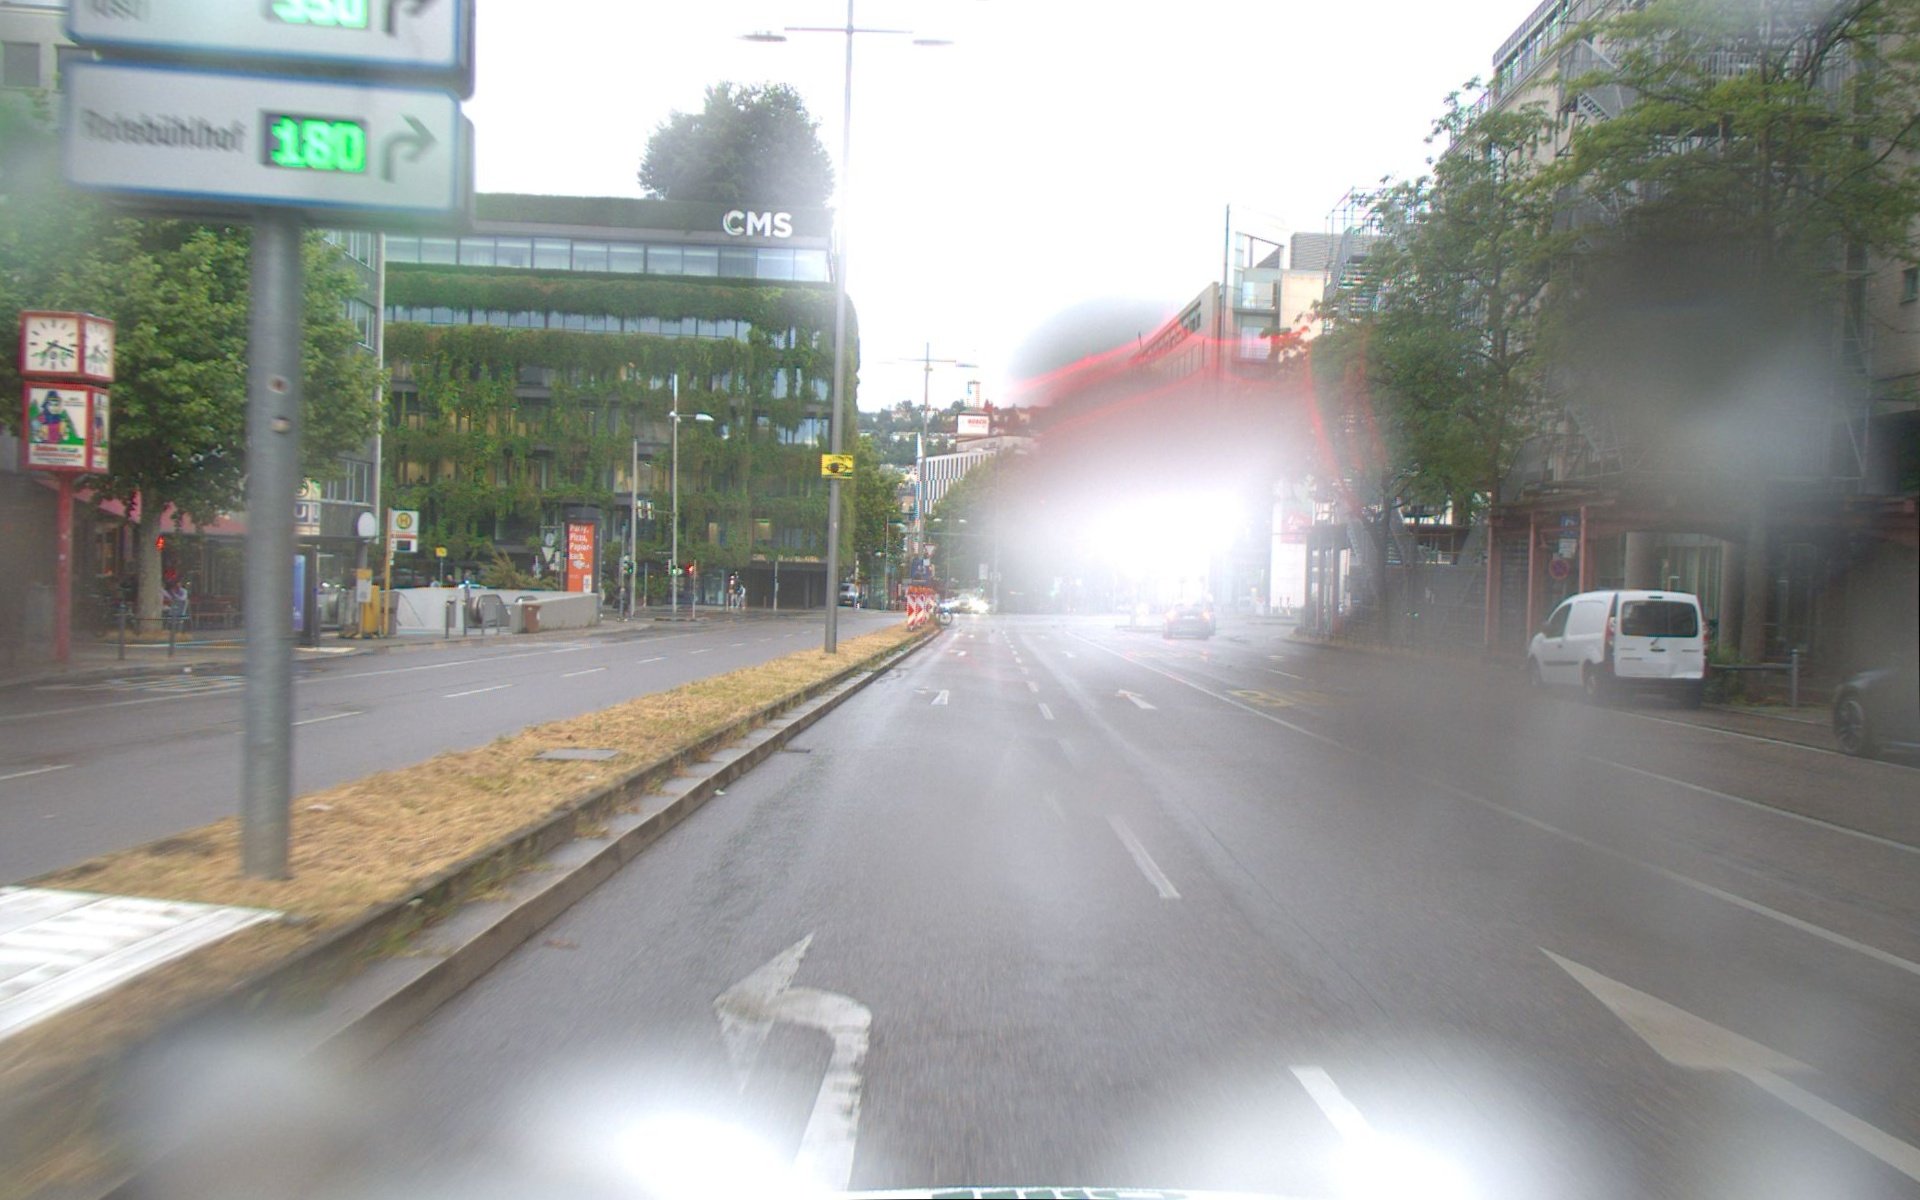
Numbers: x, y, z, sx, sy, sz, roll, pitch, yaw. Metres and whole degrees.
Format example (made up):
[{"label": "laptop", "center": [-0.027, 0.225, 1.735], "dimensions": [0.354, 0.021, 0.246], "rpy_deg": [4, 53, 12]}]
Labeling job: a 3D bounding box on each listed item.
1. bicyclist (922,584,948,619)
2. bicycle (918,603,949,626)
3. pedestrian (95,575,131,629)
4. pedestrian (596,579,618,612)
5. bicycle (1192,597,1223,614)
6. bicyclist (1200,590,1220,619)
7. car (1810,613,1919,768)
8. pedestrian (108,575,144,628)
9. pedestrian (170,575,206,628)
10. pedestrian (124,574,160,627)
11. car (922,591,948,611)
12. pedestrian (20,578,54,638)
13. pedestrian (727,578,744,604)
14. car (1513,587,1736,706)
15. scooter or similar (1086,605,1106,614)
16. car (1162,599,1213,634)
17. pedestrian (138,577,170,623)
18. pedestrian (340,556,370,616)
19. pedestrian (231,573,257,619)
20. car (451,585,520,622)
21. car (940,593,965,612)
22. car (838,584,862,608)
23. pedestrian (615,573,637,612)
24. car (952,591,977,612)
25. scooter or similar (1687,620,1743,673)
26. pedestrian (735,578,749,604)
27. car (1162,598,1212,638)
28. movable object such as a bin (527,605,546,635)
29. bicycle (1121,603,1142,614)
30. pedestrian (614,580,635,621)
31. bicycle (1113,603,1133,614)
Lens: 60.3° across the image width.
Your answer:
[{"label": "bicyclist", "center": [-1.250, 0.060, 82.487], "dimensions": [0.828, 1.734, 1.299], "rpy_deg": [1, 0, 21]}, {"label": "bicycle", "center": [-1.311, 0.715, 82.417], "dimensions": [0.828, 1.122, 2.153], "rpy_deg": [1, 0, 20]}, {"label": "pedestrian", "center": [-23.519, 0.050, 45.930], "dimensions": [0.675, 1.476, 0.547], "rpy_deg": [1, 0, -3]}, {"label": "pedestrian", "center": [-17.894, -0.243, 83.801], "dimensions": [0.901, 1.613, 0.833], "rpy_deg": [-3, 0, -3]}, {"label": "bicycle", "center": [17.251, 0.414, 115.266], "dimensions": [0.786, 1.136, 2.224], "rpy_deg": [1, 0, -39]}, {"label": "bicyclist", "center": [17.407, 0.321, 115.092], "dimensions": [0.786, 2.009, 1.098], "rpy_deg": [1, 0, -39]}, {"label": "car", "center": [10.192, 0.908, 15.804], "dimensions": [1.830, 1.462, 4.923], "rpy_deg": [1, 0, 3]}, {"label": "pedestrian", "center": [-23.484, 0.039, 46.573], "dimensions": [0.675, 1.476, 0.583], "rpy_deg": [1, 0, -2]}, {"label": "pedestrian", "center": [-21.826, 0.036, 46.778], "dimensions": [0.675, 1.476, 0.707], "rpy_deg": [1, 0, -3]}, {"label": "pedestrian", "center": [-23.549, 0.012, 47.619], "dimensions": [0.712, 1.476, 0.691], "rpy_deg": [1, 0, -6]}, {"label": "car", "center": [-2.123, 0.072, 136.775], "dimensions": [1.820, 1.473, 4.616], "rpy_deg": [1, 1, -5]}, {"label": "pedestrian", "center": [-24.606, 0.210, 44.102], "dimensions": [0.585, 1.598, 0.604], "rpy_deg": [1, 0, -9]}, {"label": "pedestrian", "center": [-15.441, -0.638, 113.699], "dimensions": [0.922, 1.788, 1.164], "rpy_deg": [1, 0, -22]}, {"label": "car", "center": [10.919, 0.701, 27.548], "dimensions": [1.952, 1.780, 4.527], "rpy_deg": [1, 0, 1]}, {"label": "scooter or similar", "center": [12.489, 0.872, 151.991], "dimensions": [1.719, 0.894, 0.487], "rpy_deg": [1, 0, -18]}, {"label": "car", "center": [10.522, 0.745, 76.341], "dimensions": [1.667, 1.556, 4.429], "rpy_deg": [1, 0, 16]}, {"label": "pedestrian", "center": [-24.282, 0.002, 49.843], "dimensions": [0.620, 1.380, 0.691], "rpy_deg": [1, 0, -6]}, {"label": "pedestrian", "center": [-19.410, -0.451, 53.075], "dimensions": [0.675, 1.918, 0.758], "rpy_deg": [1, 0, -3]}, {"label": "pedestrian", "center": [-23.224, -0.134, 53.633], "dimensions": [0.590, 1.476, 0.588], "rpy_deg": [1, 0, -4]}, {"label": "car", "center": [-25.883, 0.186, 90.315], "dimensions": [3.388, 1.955, 1.994], "rpy_deg": [1, 0, -12]}, {"label": "car", "center": [-0.780, 0.241, 164.915], "dimensions": [2.132, 1.855, 4.639], "rpy_deg": [1, 0, -5]}, {"label": "car", "center": [-9.357, -0.334, 140.873], "dimensions": [1.954, 1.928, 4.462], "rpy_deg": [1, 0, -3]}, {"label": "pedestrian", "center": [-16.890, -0.368, 83.660], "dimensions": [0.877, 1.918, 0.786], "rpy_deg": [-3, 0, -3]}, {"label": "car", "center": [0.373, 0.100, 130.624], "dimensions": [1.952, 1.577, 4.556], "rpy_deg": [1, 0, 1]}, {"label": "scooter or similar", "center": [17.568, 1.068, 38.509], "dimensions": [0.618, 1.182, 1.548], "rpy_deg": [1, 0, 1]}, {"label": "pedestrian", "center": [-14.996, -0.623, 113.801], "dimensions": [0.731, 1.788, 0.969], "rpy_deg": [1, 0, -22]}, {"label": "car", "center": [9.454, 0.729, 69.136], "dimensions": [1.741, 1.567, 4.148], "rpy_deg": [1, 0, 3]}, {"label": "movable object such as a bin", "center": [-13.323, 0.630, 52.048], "dimensions": [0.521, 0.913, 0.681], "rpy_deg": [0, 0, -8]}, {"label": "bicycle", "center": [14.846, 0.727, 142.966], "dimensions": [1.757, 0.950, 0.476], "rpy_deg": [1, 0, 4]}, {"label": "pedestrian", "center": [-15.965, 0.031, 78.714], "dimensions": [0.790, 1.918, 0.865], "rpy_deg": [-3, 0, -5]}, {"label": "bicycle", "center": [14.264, 0.721, 144.827], "dimensions": [1.757, 0.950, 0.476], "rpy_deg": [1, 0, 4]}]
